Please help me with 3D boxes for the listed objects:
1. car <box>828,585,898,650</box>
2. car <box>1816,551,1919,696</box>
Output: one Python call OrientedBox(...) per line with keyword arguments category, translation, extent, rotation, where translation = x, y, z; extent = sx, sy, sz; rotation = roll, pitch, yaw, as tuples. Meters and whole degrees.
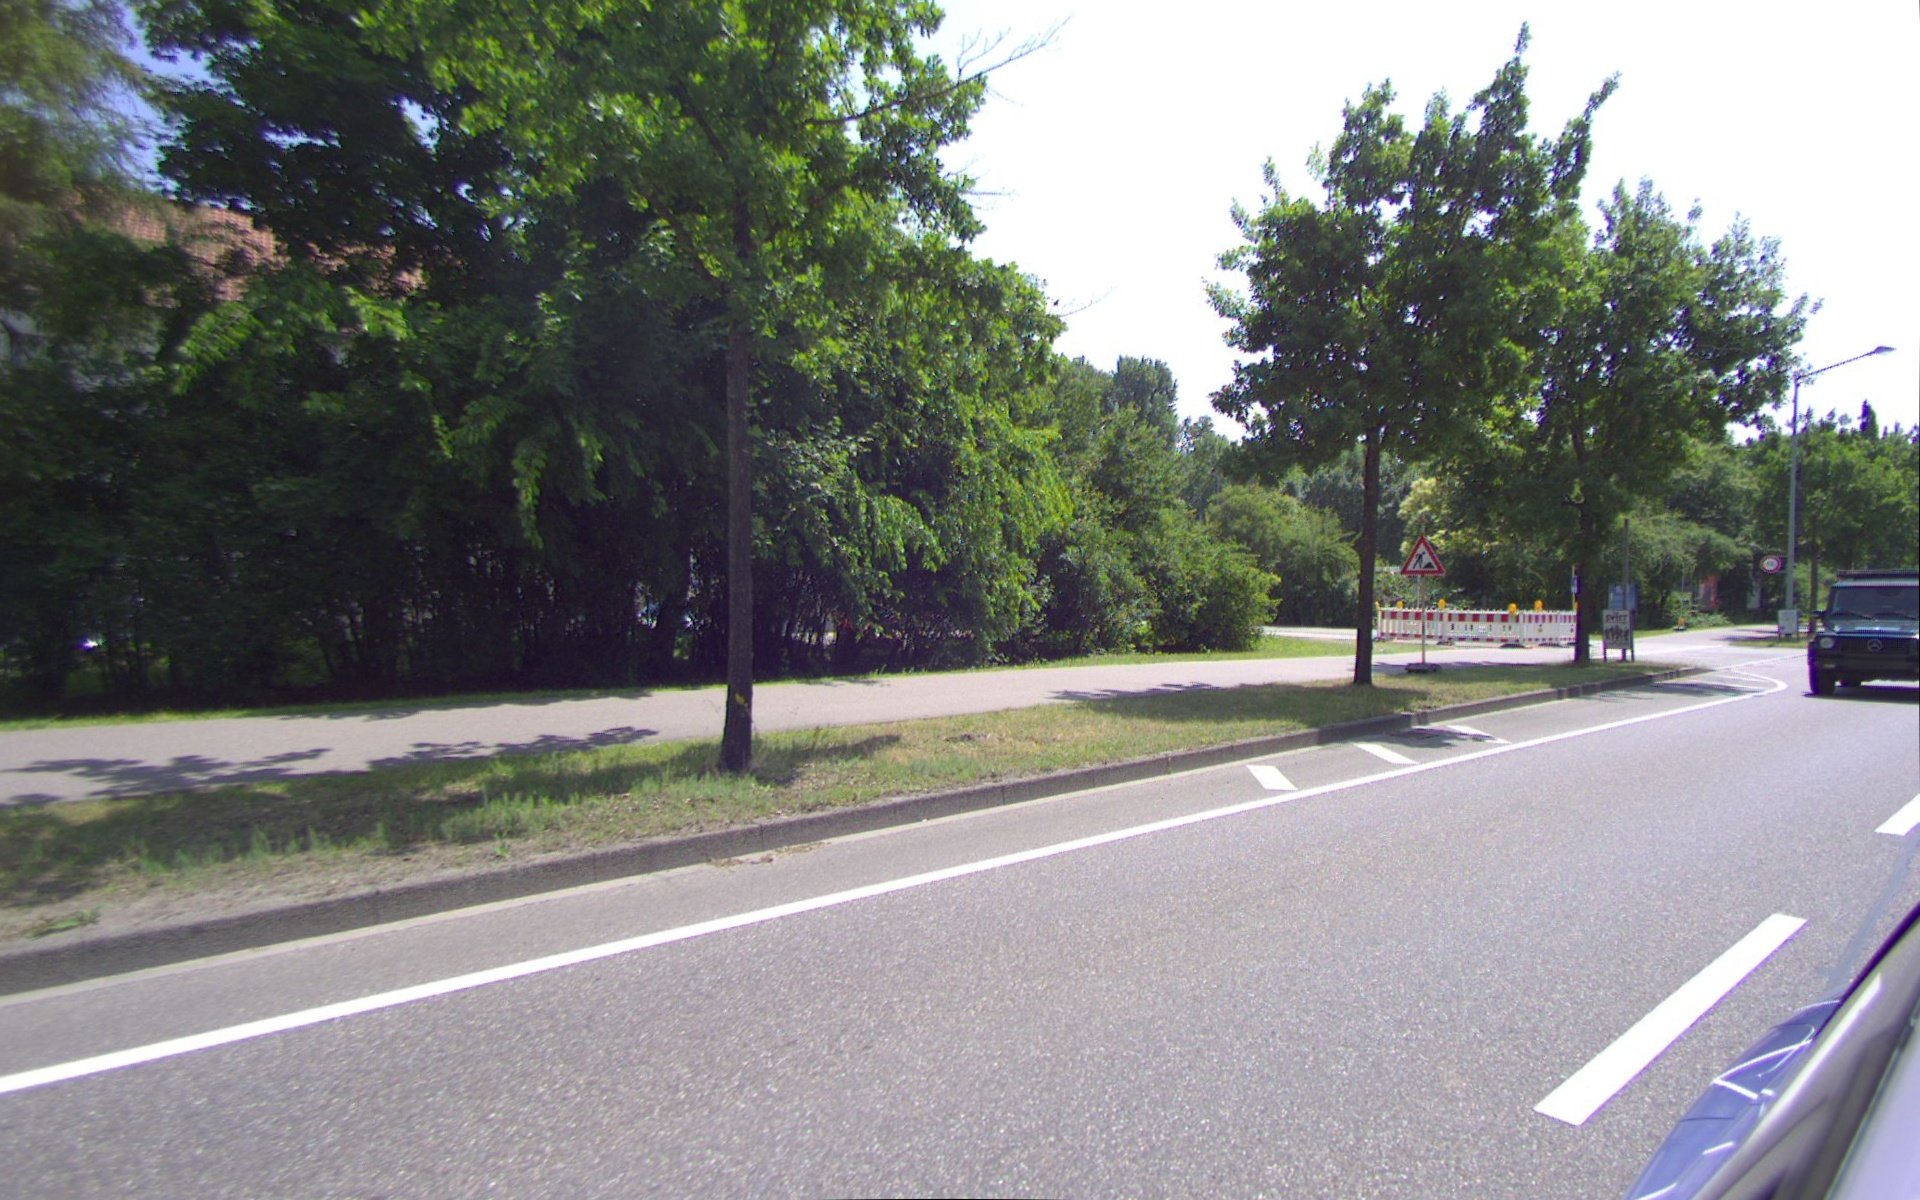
OrientedBox(category="car", translation=(-2.776, 0.439, 29.057), extent=(1.842, 1.682, 4.004), rotation=(1, 1, -5))
OrientedBox(category="car", translation=(15.964, 0.335, 17.018), extent=(4.480, 2.180, 1.839), rotation=(0, 1, -43))
